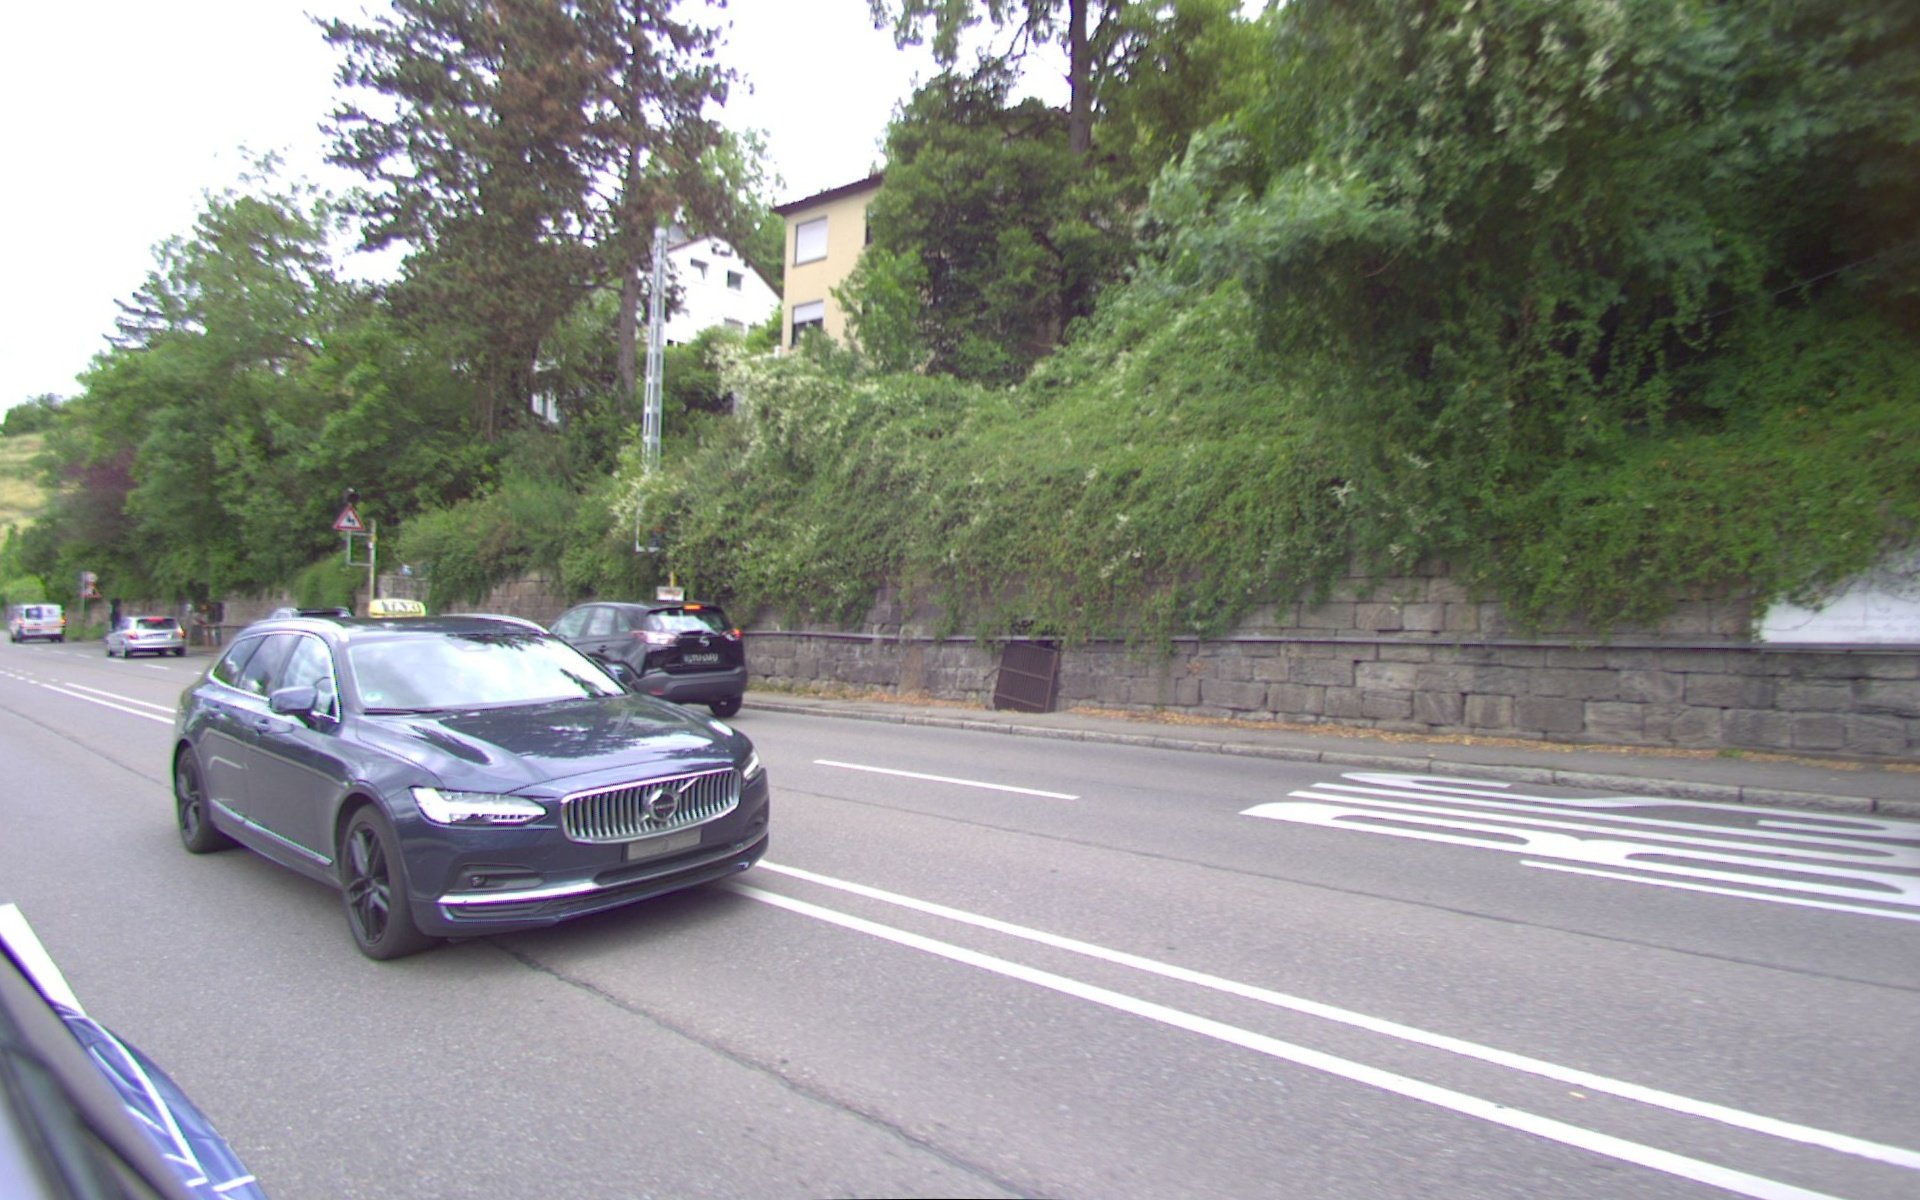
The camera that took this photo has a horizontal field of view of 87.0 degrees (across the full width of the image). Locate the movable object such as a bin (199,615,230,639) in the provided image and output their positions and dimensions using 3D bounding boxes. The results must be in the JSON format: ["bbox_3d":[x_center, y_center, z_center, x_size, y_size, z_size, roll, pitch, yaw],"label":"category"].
[{"bbox_3d":[-30.901,1.101,41.944,0.593,0.953,0.907,-1,0,38],"label":"movable object such as a bin"}]

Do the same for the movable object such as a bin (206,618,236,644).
[{"bbox_3d":[-30.350,1.277,41.566,0.620,1.042,0.890,-1,0,37],"label":"movable object such as a bin"}]

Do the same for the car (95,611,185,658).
[{"bbox_3d":[-28.391,1.179,34.998,4.230,1.453,1.659,-1,1,40],"label":"car"}]

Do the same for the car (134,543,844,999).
[{"bbox_3d":[-3.085,0.583,5.918,5.025,1.588,1.914,0,1,42],"label":"car"}]

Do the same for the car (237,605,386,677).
[{"bbox_3d":[-15.580,0.898,24.242,4.247,1.560,1.921,0,0,41],"label":"car"}]

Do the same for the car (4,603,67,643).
[{"bbox_3d":[-49.091,1.176,53.701,5.353,2.020,1.901,-1,0,42],"label":"car"}]

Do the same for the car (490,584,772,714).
[{"bbox_3d":[-4.627,0.595,13.933,4.209,1.493,1.763,-1,1,41],"label":"car"}]
